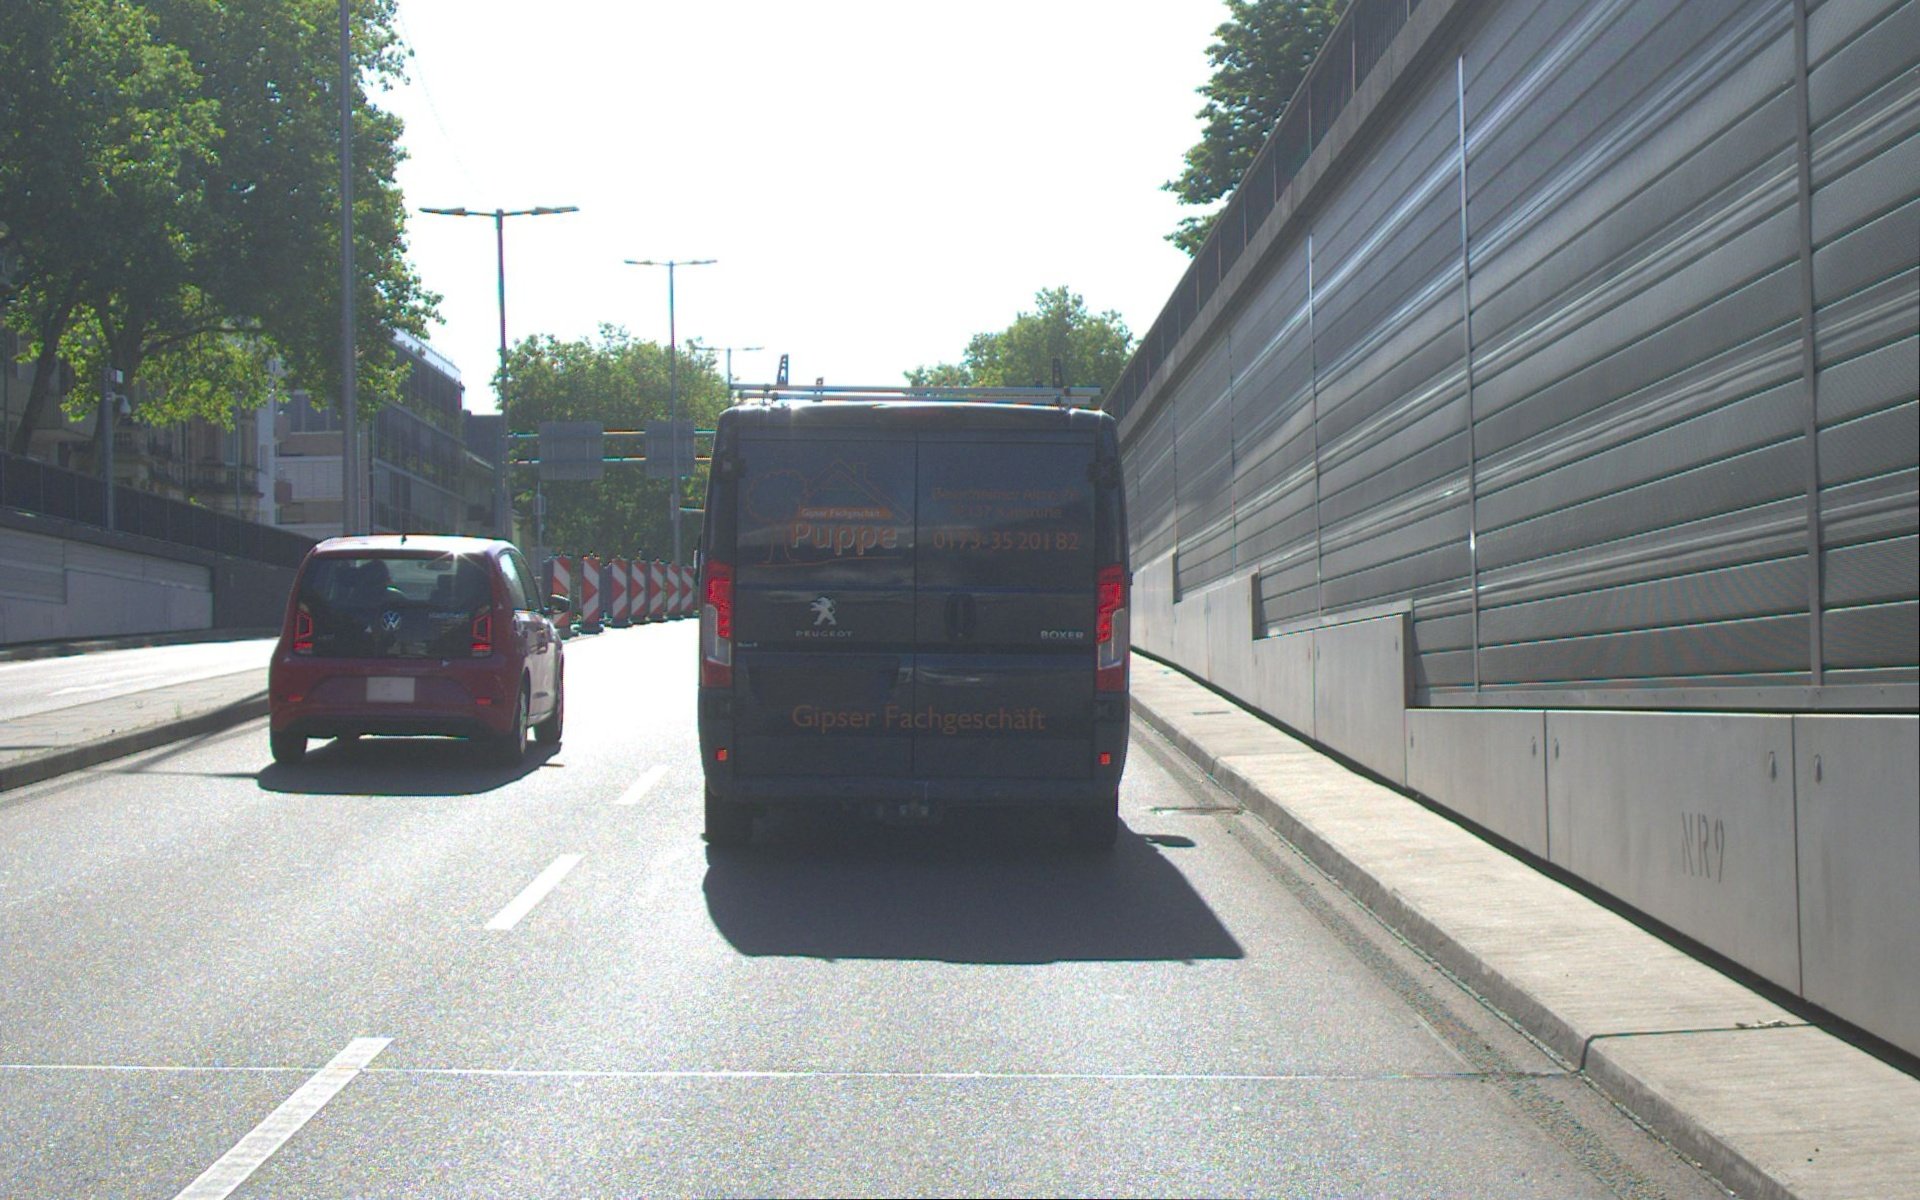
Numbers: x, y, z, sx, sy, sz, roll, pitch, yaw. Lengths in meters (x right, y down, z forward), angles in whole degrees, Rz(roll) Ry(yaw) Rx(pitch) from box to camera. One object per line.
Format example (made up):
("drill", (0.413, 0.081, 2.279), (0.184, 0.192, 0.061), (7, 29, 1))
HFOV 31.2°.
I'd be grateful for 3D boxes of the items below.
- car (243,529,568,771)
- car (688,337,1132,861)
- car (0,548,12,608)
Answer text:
("car", (-3.622, 0.276, 22.945), (1.689, 1.478, 3.319), (1, 1, -1))
("car", (-0.252, -0.013, 17.757), (2.030, 2.394, 3.973), (0, 0, -1))
("car", (-23.586, -0.546, 79.857), (1.993, 1.384, 4.172), (1, -1, -1))
